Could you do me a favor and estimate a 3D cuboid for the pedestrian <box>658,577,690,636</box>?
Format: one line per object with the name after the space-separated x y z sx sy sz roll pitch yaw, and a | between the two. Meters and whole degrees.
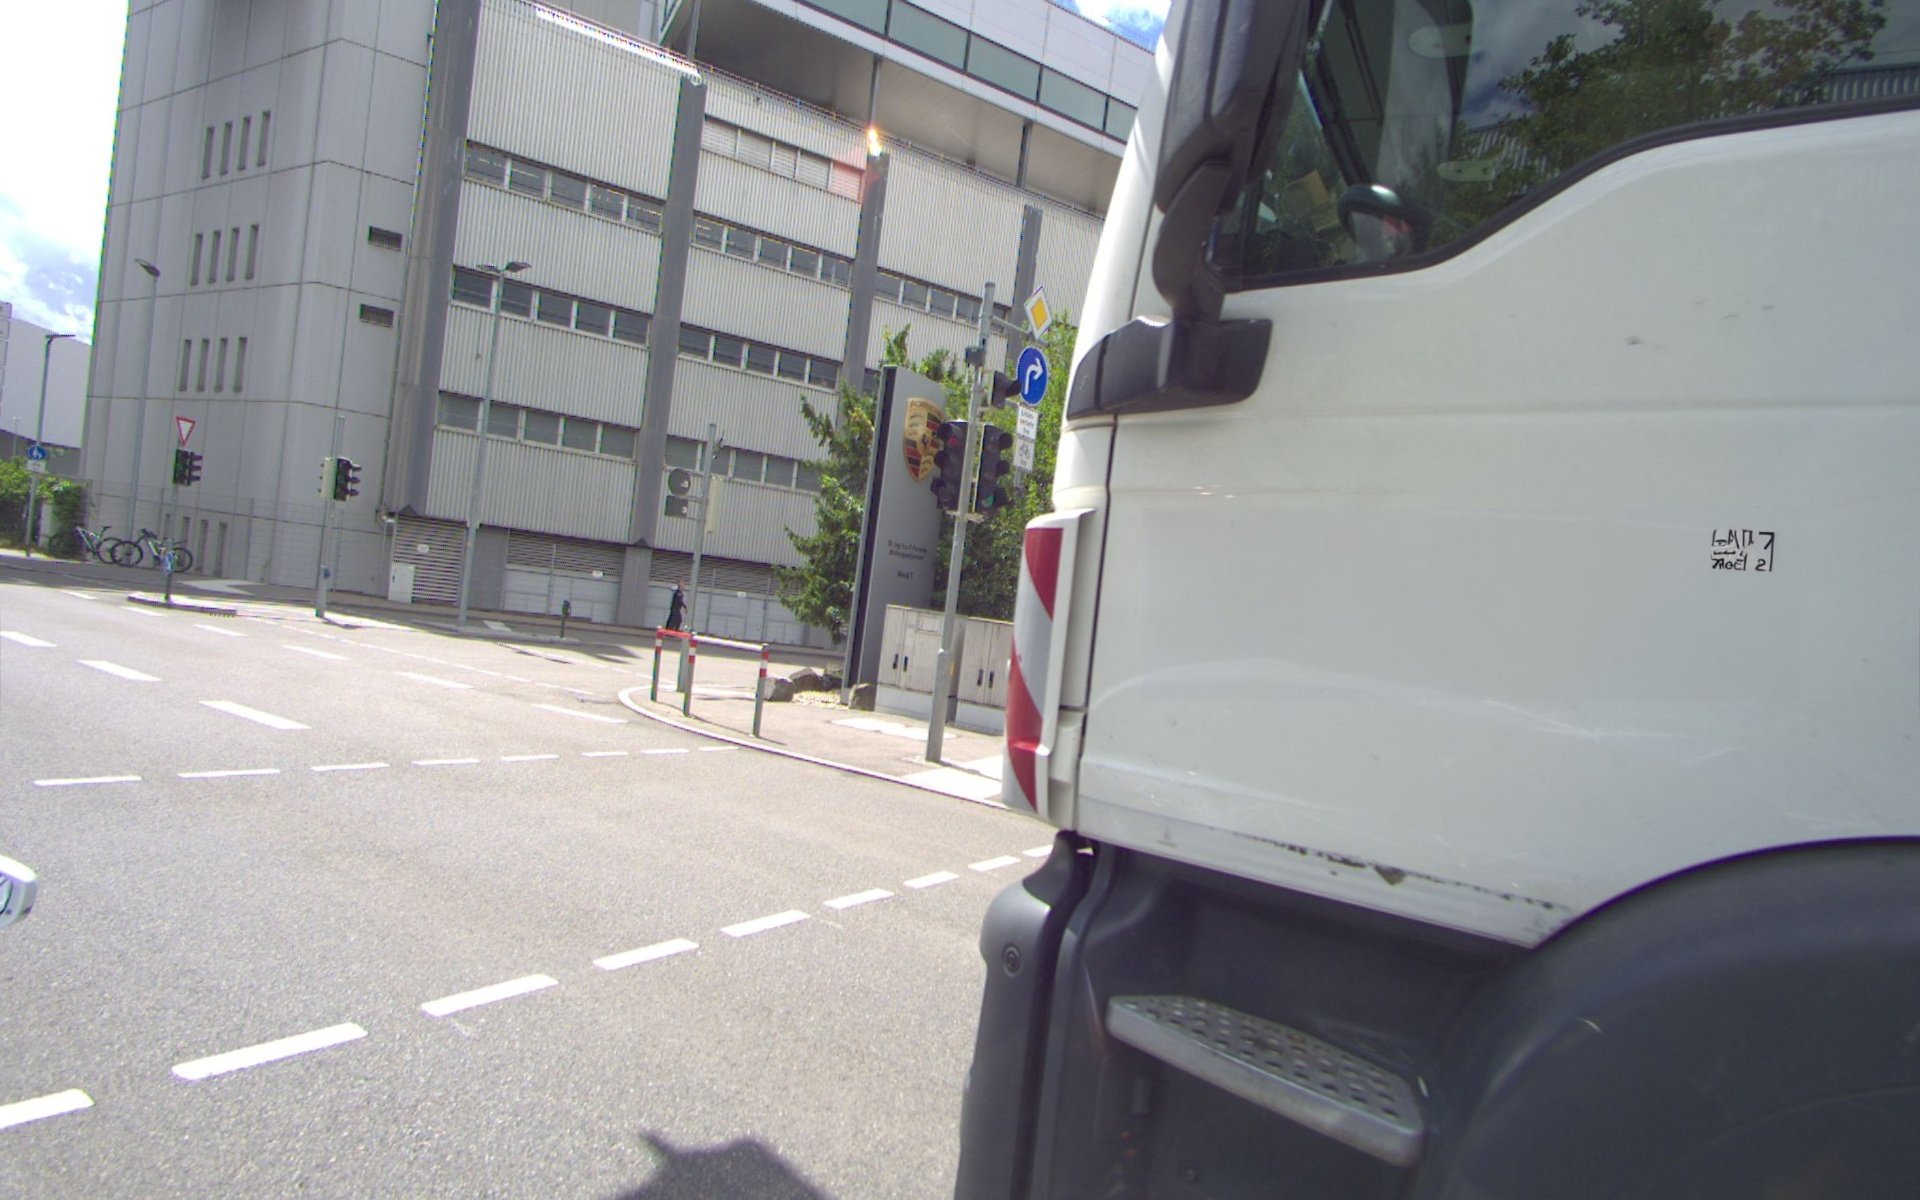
-9.088 0.199 31.935 0.651 1.783 0.480 7 2 -31 | pedestrian

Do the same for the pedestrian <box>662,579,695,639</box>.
-8.773 0.279 31.344 0.651 1.778 0.516 7 3 -31 | pedestrian

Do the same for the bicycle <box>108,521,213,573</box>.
-22.317 -1.462 28.126 2.166 1.099 0.474 8 -2 -23 | bicycle

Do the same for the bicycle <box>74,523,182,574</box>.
-23.355 -1.427 28.283 2.196 1.099 0.474 8 -2 -23 | bicycle

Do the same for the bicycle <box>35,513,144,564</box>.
-24.694 -1.720 28.567 2.196 1.099 0.474 8 -2 -23 | bicycle
